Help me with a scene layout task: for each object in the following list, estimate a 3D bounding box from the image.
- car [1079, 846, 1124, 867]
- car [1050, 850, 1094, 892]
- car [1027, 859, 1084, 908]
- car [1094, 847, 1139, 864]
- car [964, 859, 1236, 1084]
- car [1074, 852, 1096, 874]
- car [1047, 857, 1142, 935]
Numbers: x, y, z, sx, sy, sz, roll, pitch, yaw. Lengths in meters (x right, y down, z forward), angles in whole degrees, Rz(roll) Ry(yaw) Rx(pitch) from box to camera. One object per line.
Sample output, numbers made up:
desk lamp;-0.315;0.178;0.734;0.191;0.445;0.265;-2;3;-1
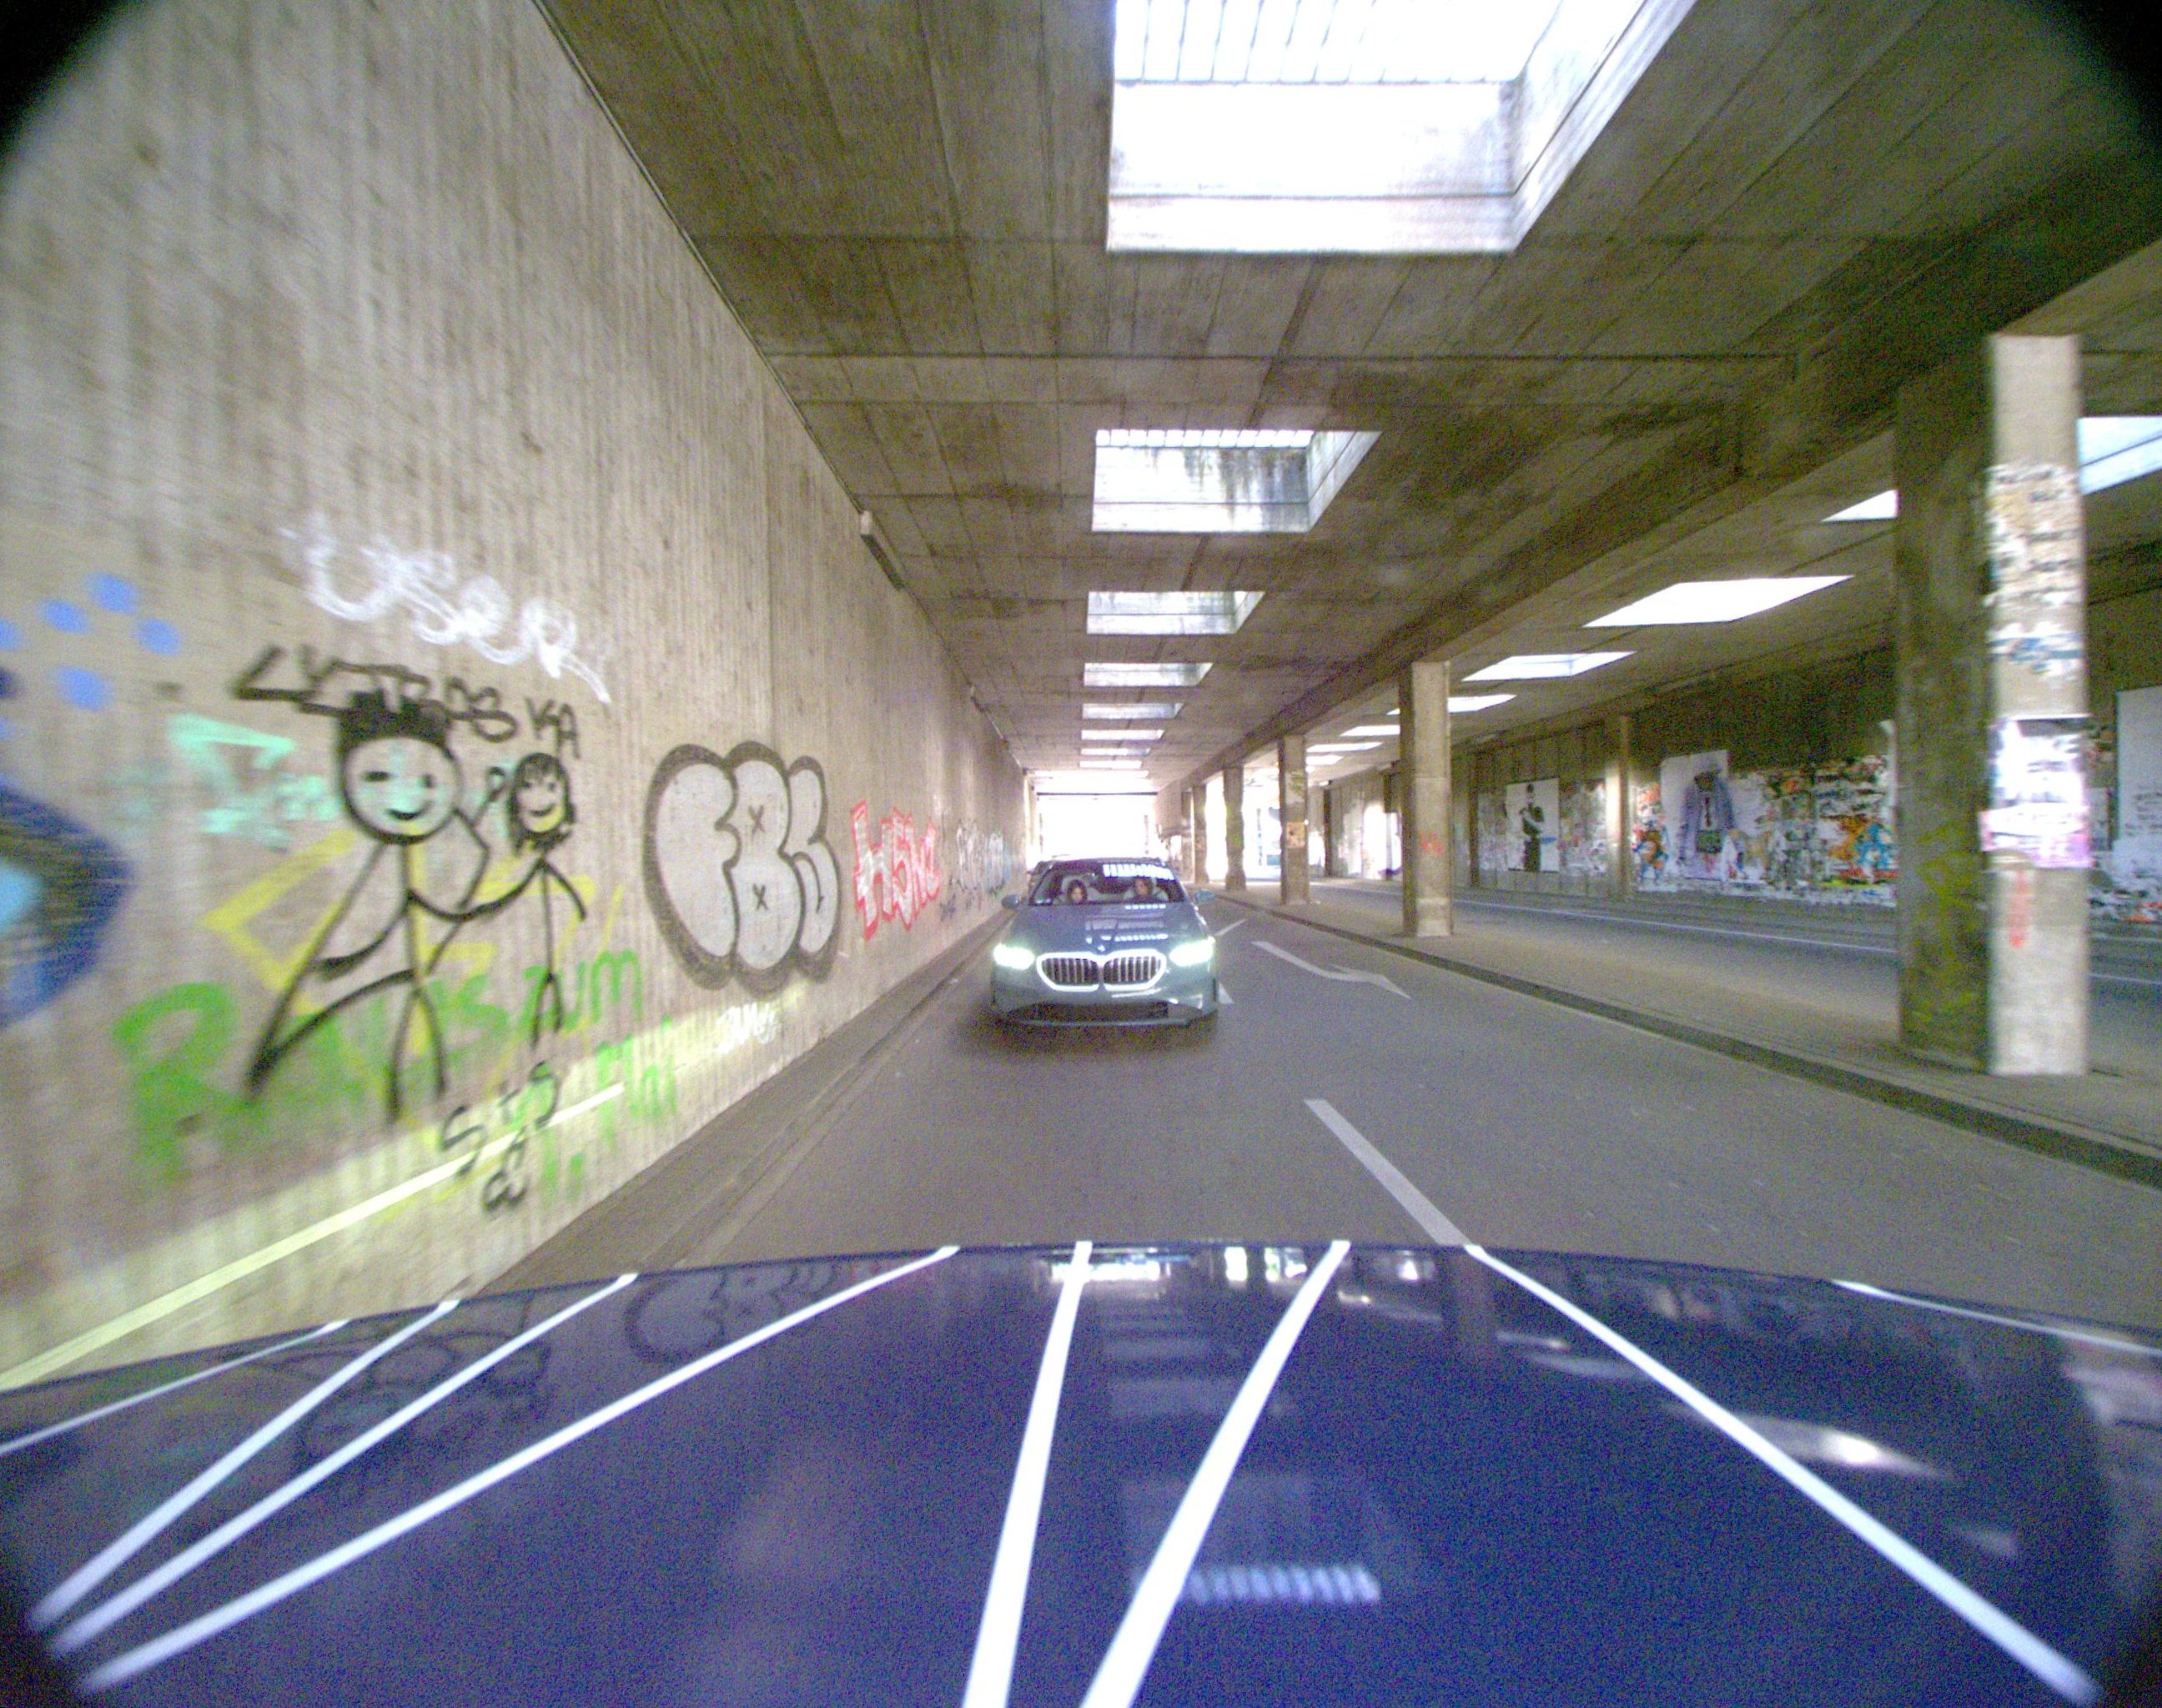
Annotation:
car;1.732;0.173;66.062;3.614;1.674;1.851;-2;1;-7
car;-0.312;0.628;30.694;1.616;1.546;4.013;-1;0;1
car;-0.732;0.873;24.519;1.616;1.367;4.199;-1;0;1
car;3.401;0.127;73.694;4.205;1.507;1.791;-2;1;1
car;0.175;0.874;8.066;1.957;1.546;5.040;-1;0;1
car;0.299;0.671;59.030;1.616;1.546;4.013;-1;0;1
car;0.310;0.896;18.021;1.957;1.546;4.247;-1;0;1
